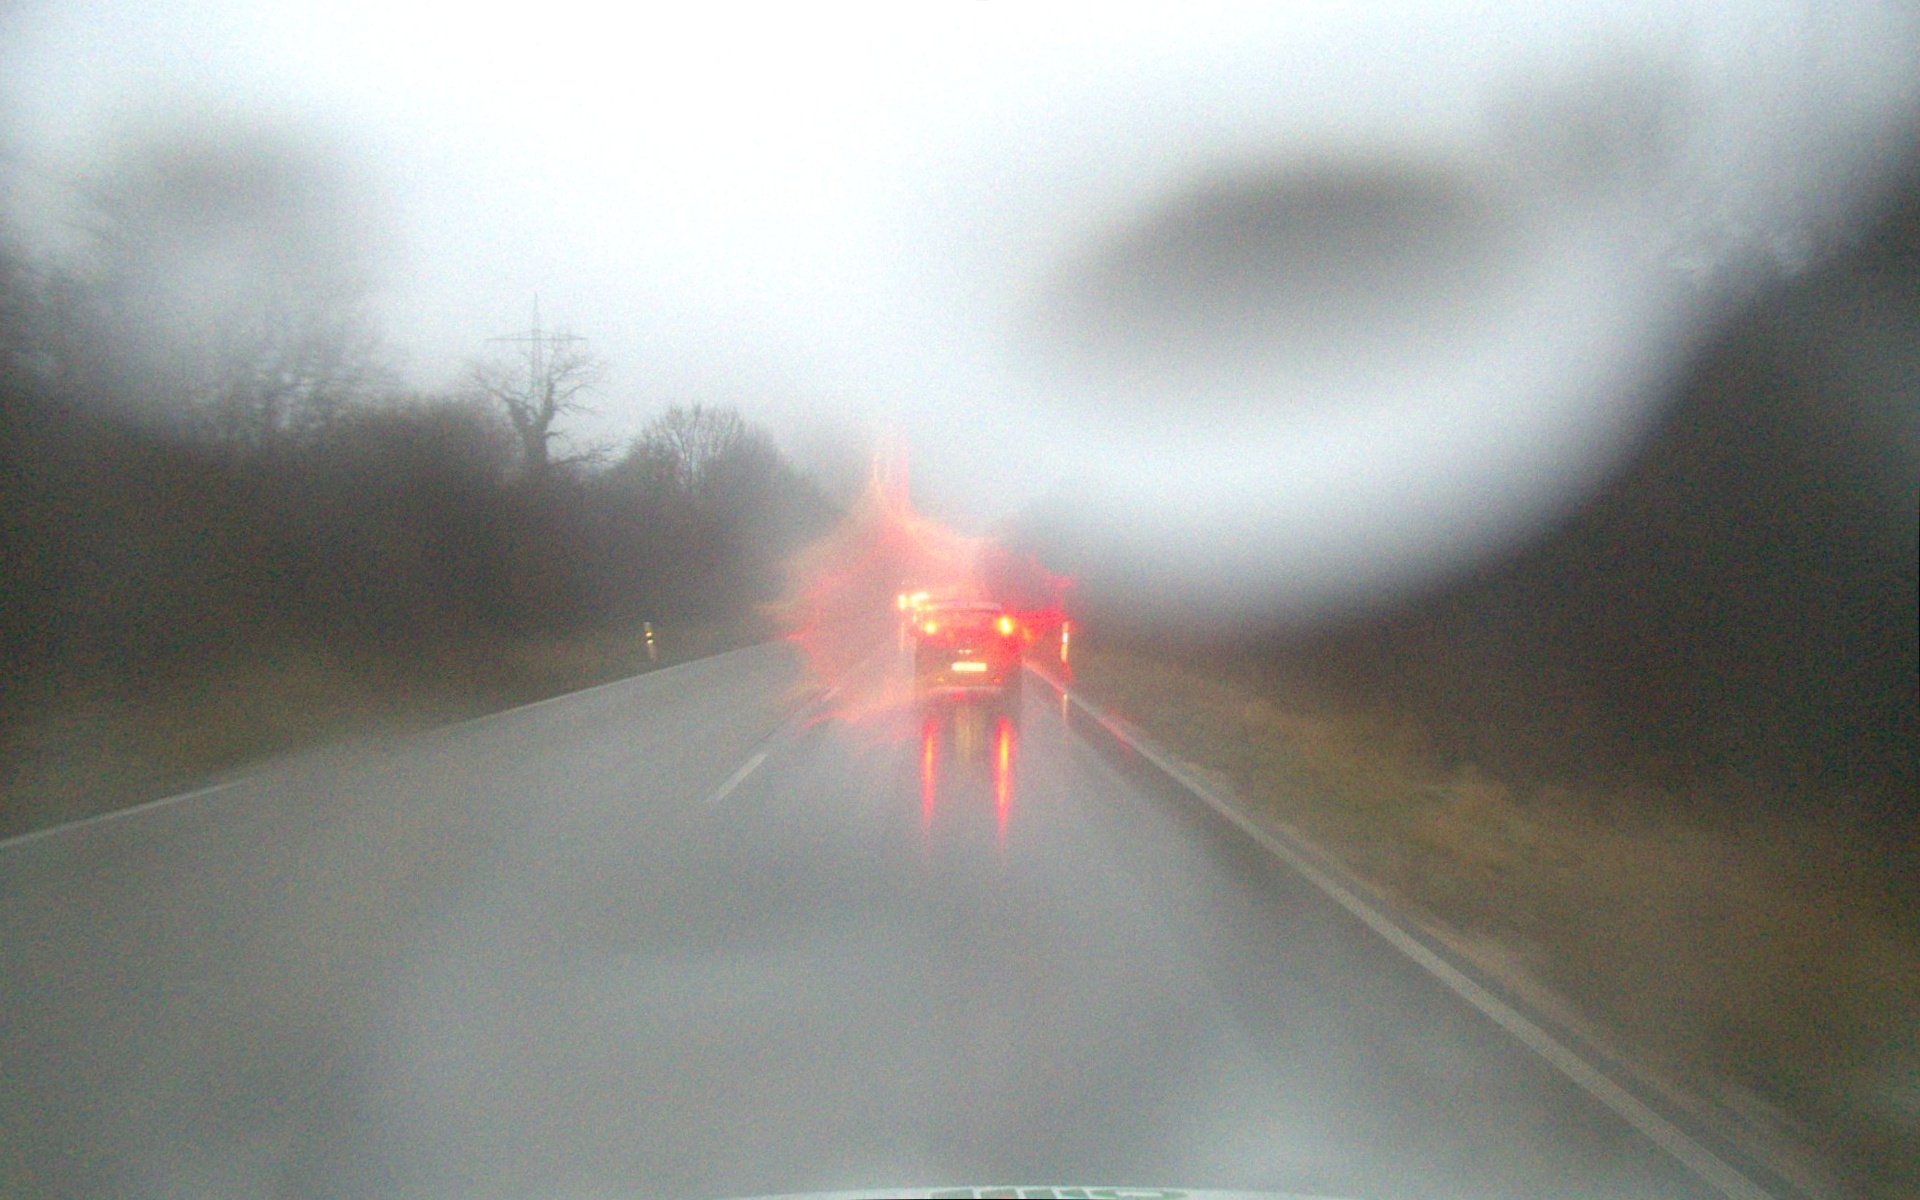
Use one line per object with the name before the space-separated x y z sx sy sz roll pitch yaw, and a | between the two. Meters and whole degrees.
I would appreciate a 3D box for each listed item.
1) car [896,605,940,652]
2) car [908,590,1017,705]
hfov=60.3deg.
car | -1.682 1.137 66.828 1.698 1.810 3.999 1 0 -1
car | 0.011 0.706 26.433 1.614 1.701 3.513 1 0 -1
